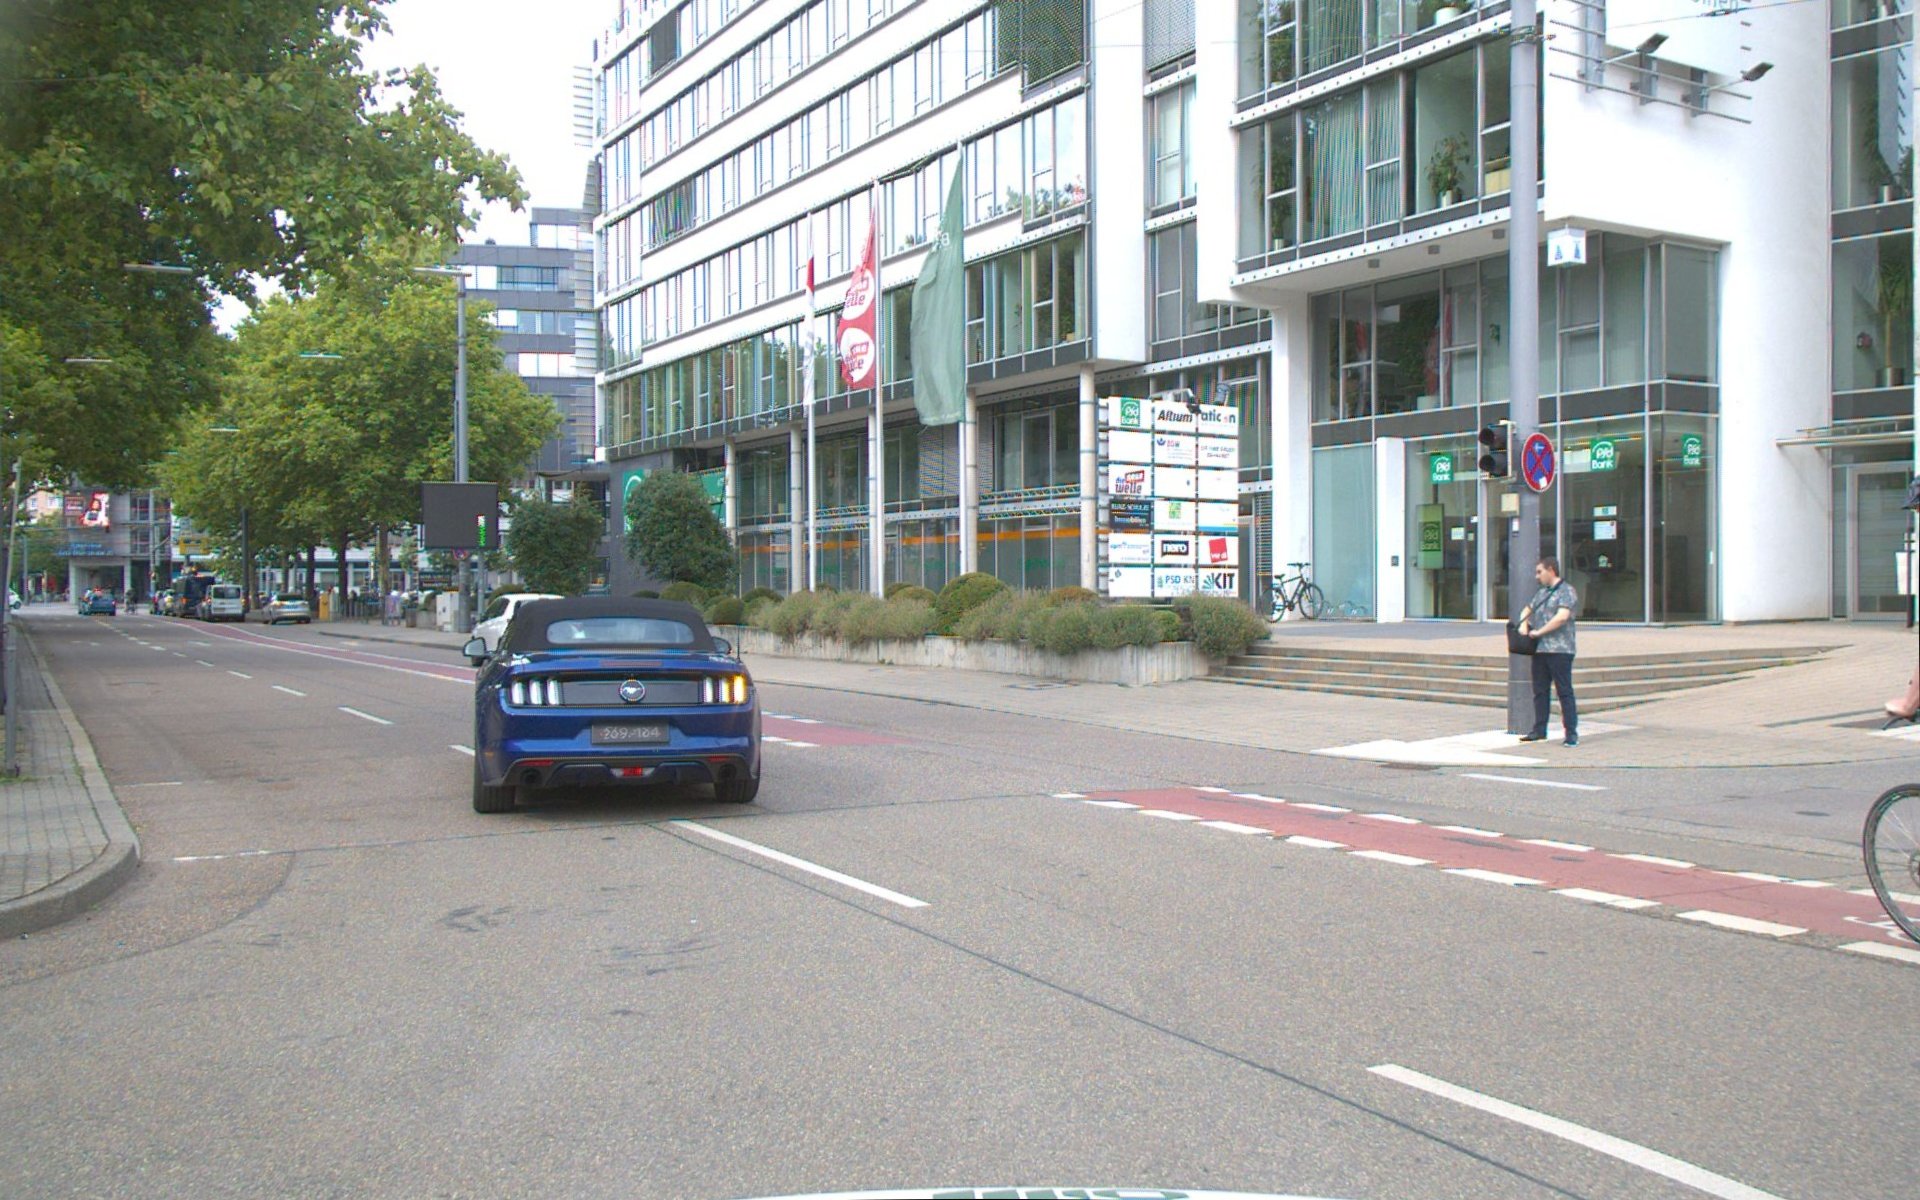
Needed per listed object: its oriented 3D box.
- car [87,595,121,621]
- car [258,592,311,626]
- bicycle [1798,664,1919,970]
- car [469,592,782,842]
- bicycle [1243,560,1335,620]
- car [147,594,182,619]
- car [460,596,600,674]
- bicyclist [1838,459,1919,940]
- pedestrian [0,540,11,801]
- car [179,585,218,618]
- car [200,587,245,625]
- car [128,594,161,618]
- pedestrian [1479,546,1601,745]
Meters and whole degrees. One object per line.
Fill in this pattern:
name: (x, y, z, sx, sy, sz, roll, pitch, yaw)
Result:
car: (-55.163, 0.534, 106.540, 1.815, 1.574, 4.173, -1, 0, -29)
car: (-33.455, 0.433, 81.892, 1.861, 1.609, 4.280, 0, 0, -31)
bicycle: (4.006, 0.839, 6.170, 0.783, 1.105, 2.133, -1, 0, 4)
car: (-2.563, 0.679, 12.080, 1.845, 1.428, 4.264, -1, 1, -15)
bicycle: (6.763, -0.215, 33.940, 2.090, 1.197, 0.579, 0, 1, -35)
car: (-51.917, 0.444, 107.907, 1.815, 1.547, 4.135, -1, 0, -29)
car: (-8.943, 0.693, 34.150, 1.815, 1.464, 4.146, -1, 0, -29)
bicyclist: (4.002, 0.371, 6.208, 0.779, 1.817, 1.233, -1, 0, 4)
pedestrian: (-7.435, 0.520, 11.754, 0.825, 1.888, 0.841, -1, 0, 19)
car: (-46.164, 0.123, 100.242, 1.815, 1.936, 4.135, -1, 0, -29)
car: (-39.852, 0.319, 89.298, 1.870, 1.936, 4.089, -1, 0, -29)
car: (-55.693, 0.433, 112.922, 1.815, 1.547, 4.135, -1, 0, -29)
pedestrian: (5.731, 0.435, 16.380, 0.753, 1.897, 0.830, -1, 0, -24)
